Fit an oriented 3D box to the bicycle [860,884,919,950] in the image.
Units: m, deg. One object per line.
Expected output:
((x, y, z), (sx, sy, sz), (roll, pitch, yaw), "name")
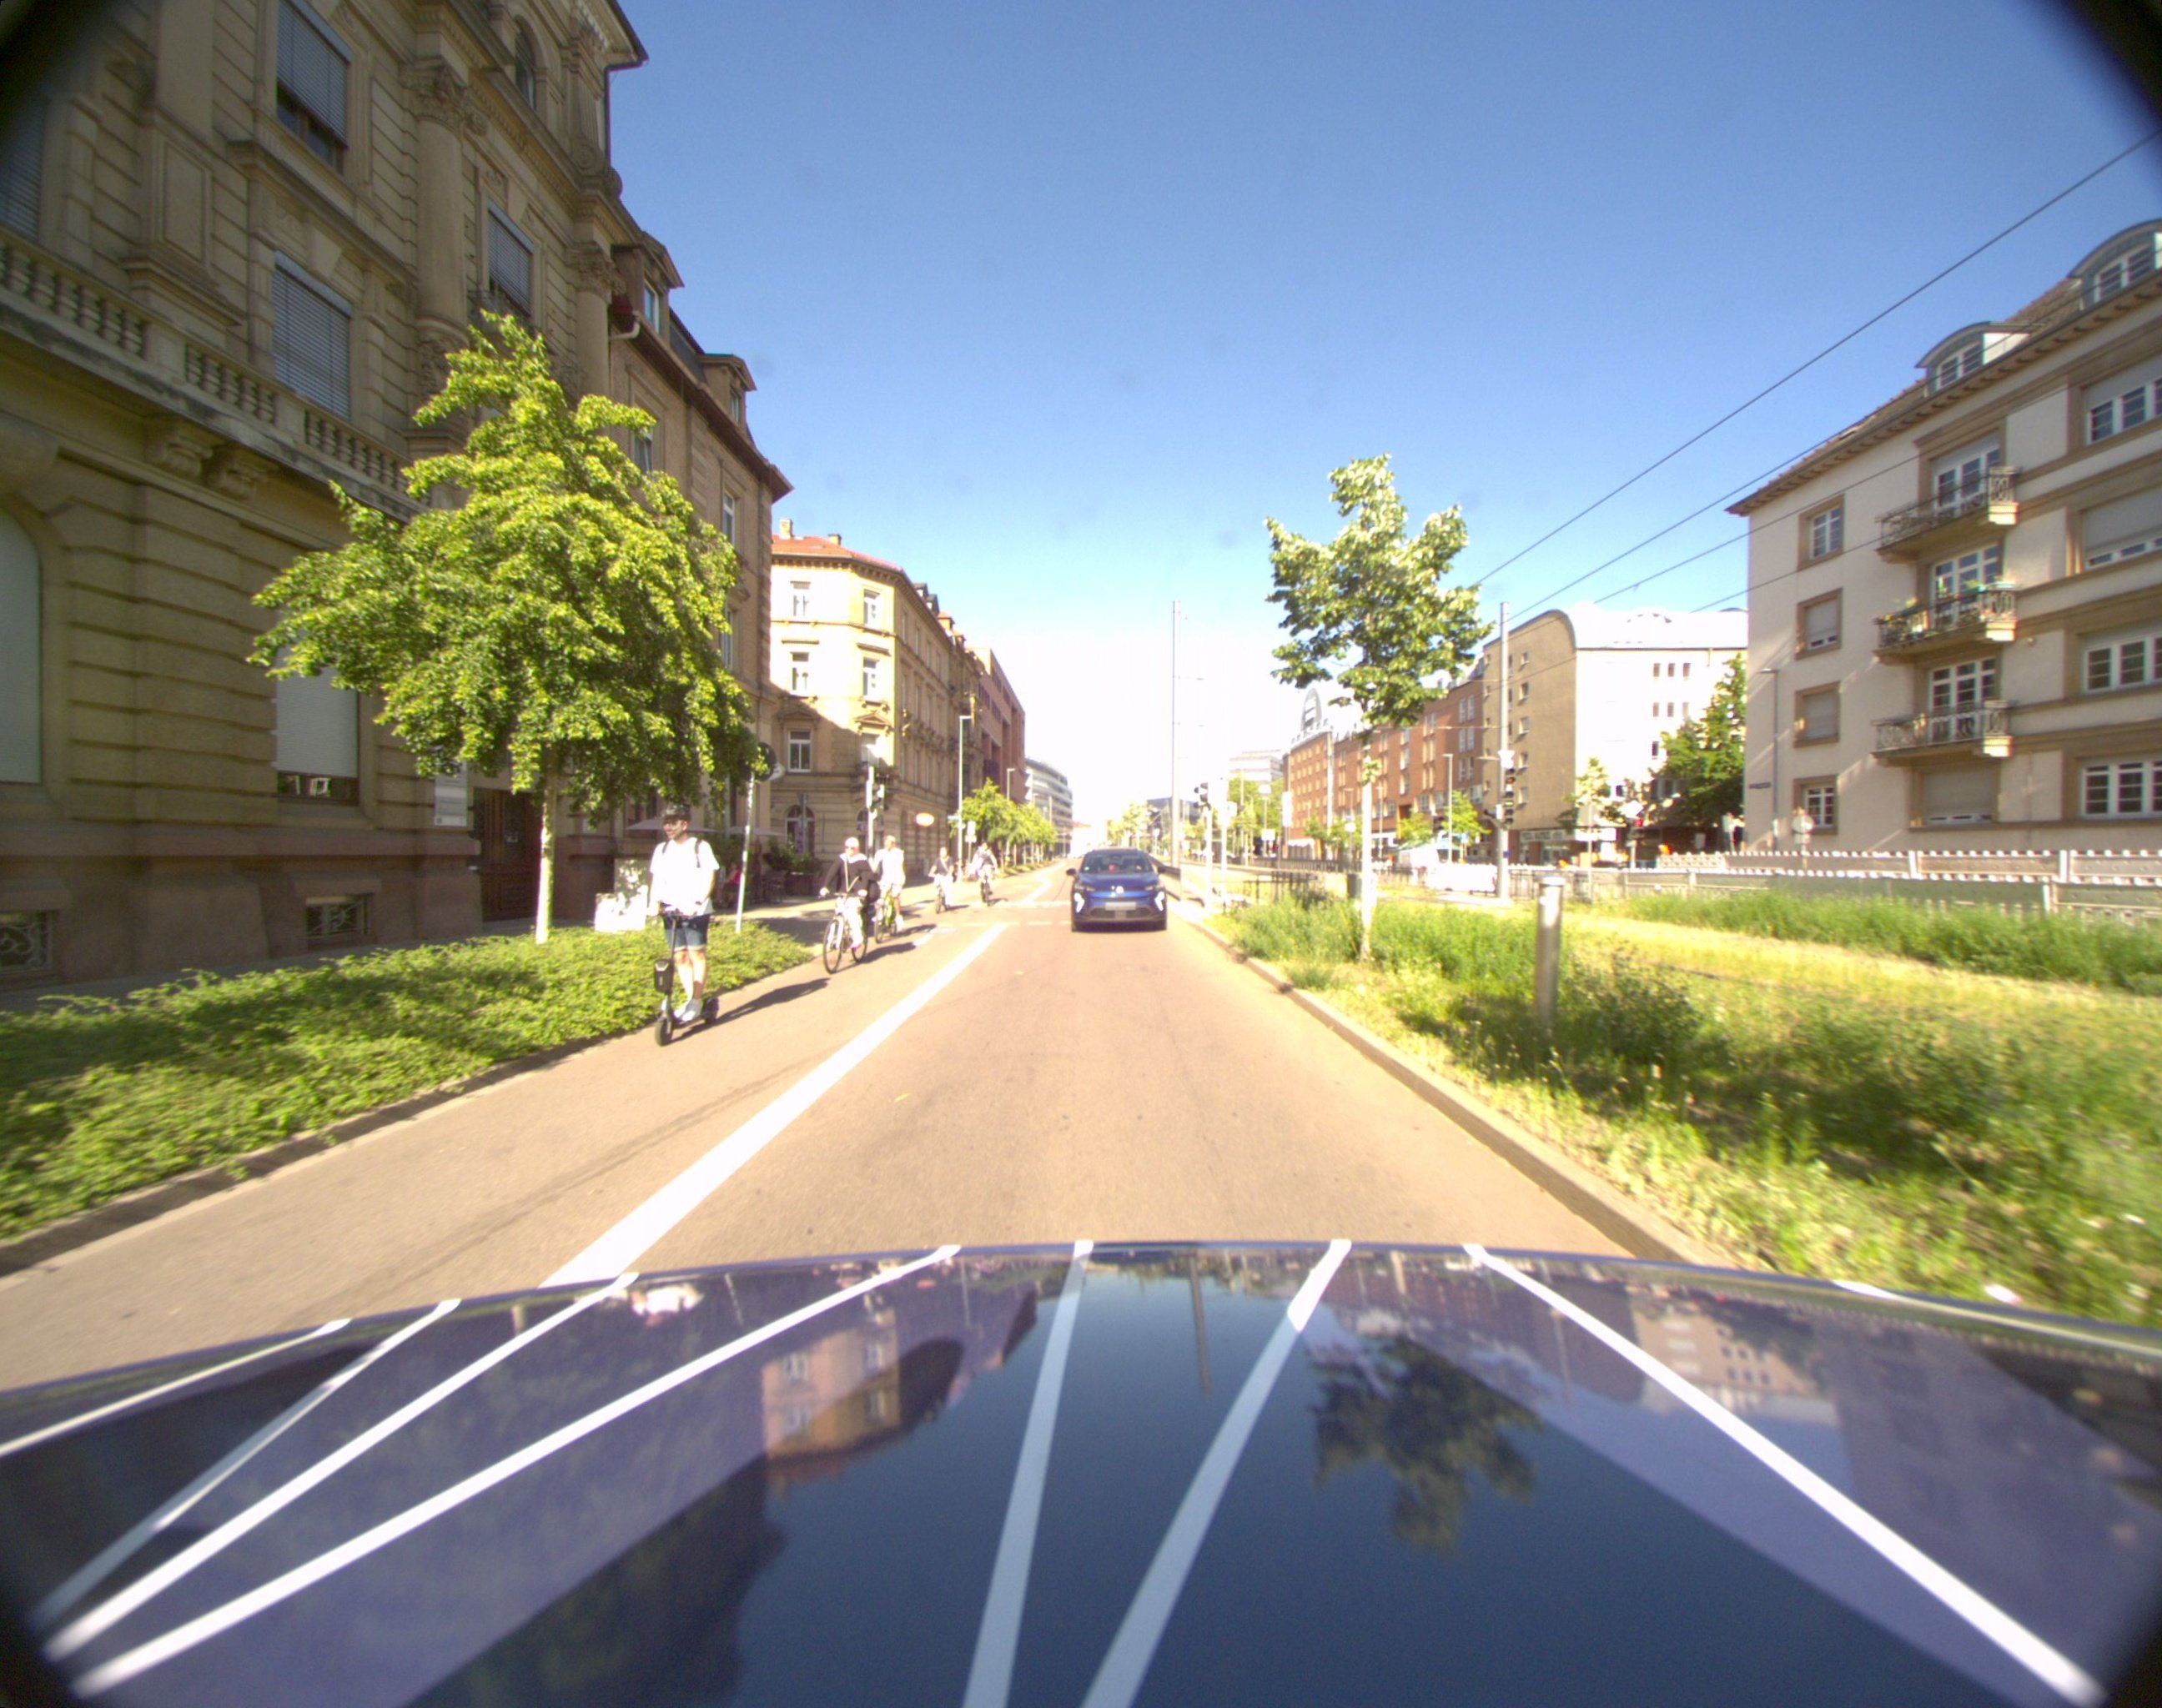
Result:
((-3.429, 1.099, 13.749), (0.725, 1.000, 1.951), (-1, 1, -6), "bicycle")

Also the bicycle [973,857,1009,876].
((-5.482, 0.774, 46.394), (2.062, 1.036, 0.847), (3, 2, 0), "bicycle")

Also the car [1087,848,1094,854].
((2.579, -0.830, 199.935), (1.745, 1.543, 4.000), (0, 1, 1), "car")

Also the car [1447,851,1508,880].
((24.728, 0.693, 47.588), (1.699, 1.630, 3.999), (-1, 1, -1), "car")

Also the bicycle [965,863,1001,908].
((-2.819, 0.884, 22.007), (0.725, 1.187, 1.952), (-1, 1, 1), "bicycle")

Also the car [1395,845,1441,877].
((25.907, 0.479, 58.574), (1.997, 2.284, 5.191), (-1, 1, 9), "car")

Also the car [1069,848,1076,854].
((-2.492, -0.902, 217.354), (1.745, 1.543, 4.000), (0, 1, 1), "car")

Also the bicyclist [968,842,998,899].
((-2.831, 0.470, 21.999), (0.725, 1.595, 0.895), (-1, 1, 1), "bicyclist")

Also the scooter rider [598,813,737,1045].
((-3.526, 0.603, 6.551), (0.663, 1.856, 0.897), (-1, 1, -1), "scooter rider")

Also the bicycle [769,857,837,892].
((-10.263, 0.764, 28.071), (2.216, 1.224, 0.818), (1, -2, 7), "bicycle")

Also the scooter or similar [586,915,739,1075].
((-3.538, 1.153, 6.533), (0.647, 1.151, 1.150), (-1, 1, 0), "scooter or similar")

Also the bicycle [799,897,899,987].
((-3.166, 1.169, 10.571), (0.725, 1.000, 1.952), (-1, 1, 1), "bicycle")

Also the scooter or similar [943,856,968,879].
((-6.384, 0.681, 38.608), (1.199, 1.191, 0.487), (0, 1, -4), "scooter or similar")

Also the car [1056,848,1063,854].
((-5.783, -0.728, 201.972), (1.745, 1.543, 4.000), (0, 1, 0), "car")

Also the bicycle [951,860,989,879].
((-5.862, 0.829, 40.123), (1.905, 0.906, 0.592), (2, 2, 9), "bicycle")

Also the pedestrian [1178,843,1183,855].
((15.832, -0.825, 120.971), (0.821, 1.878, 0.769), (0, 1, 5), "pedestrian")

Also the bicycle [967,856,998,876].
((-5.816, 0.713, 44.992), (1.677, 1.056, 1.134), (4, 1, -1), "bicycle")

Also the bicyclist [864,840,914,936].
((-3.426, 0.591, 13.623), (0.700, 1.647, 0.976), (-1, 1, -6), "bicyclist")

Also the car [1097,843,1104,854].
((4.782, -1.380, 187.051), (1.758, 2.472, 4.610), (0, 1, 1), "car")

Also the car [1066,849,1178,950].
((0.711, 0.732, 14.599), (1.758, 1.576, 4.420), (-2, 0, 1), "car")

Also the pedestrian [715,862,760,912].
((-8.530, 0.805, 18.894), (0.719, 1.176, 0.881), (0, 2, 1), "pedestrian")

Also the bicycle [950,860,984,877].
((-6.107, 0.781, 40.757), (1.717, 0.920, 0.497), (0, 2, 1), "bicycle")

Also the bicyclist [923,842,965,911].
((-3.502, 0.565, 19.549), (0.854, 1.717, 0.989), (-1, 1, 1), "bicyclist")

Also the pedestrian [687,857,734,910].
((-9.286, 0.728, 19.096), (0.727, 1.275, 0.887), (0, 2, 1), "pedestrian")

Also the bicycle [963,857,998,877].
((-5.783, 0.750, 43.847), (1.903, 1.024, 1.030), (2, 1, -2), "bicycle")

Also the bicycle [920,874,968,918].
((-3.495, 1.050, 19.550), (0.830, 1.000, 1.952), (-1, 1, 1), "bicycle")

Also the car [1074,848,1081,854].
((-0.947, -0.796, 201.282), (1.745, 1.543, 4.000), (0, 1, 1), "car")

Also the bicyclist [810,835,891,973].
((-3.176, 0.659, 10.560), (0.725, 1.807, 1.091), (-1, 1, 2), "bicyclist")

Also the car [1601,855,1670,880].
((33.928, 0.797, 46.603), (1.438, 1.420, 3.344), (-1, 1, -12), "car")

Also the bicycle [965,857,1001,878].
((-5.456, 0.752, 42.331), (1.876, 1.043, 0.608), (3, 1, -4), "bicycle")
